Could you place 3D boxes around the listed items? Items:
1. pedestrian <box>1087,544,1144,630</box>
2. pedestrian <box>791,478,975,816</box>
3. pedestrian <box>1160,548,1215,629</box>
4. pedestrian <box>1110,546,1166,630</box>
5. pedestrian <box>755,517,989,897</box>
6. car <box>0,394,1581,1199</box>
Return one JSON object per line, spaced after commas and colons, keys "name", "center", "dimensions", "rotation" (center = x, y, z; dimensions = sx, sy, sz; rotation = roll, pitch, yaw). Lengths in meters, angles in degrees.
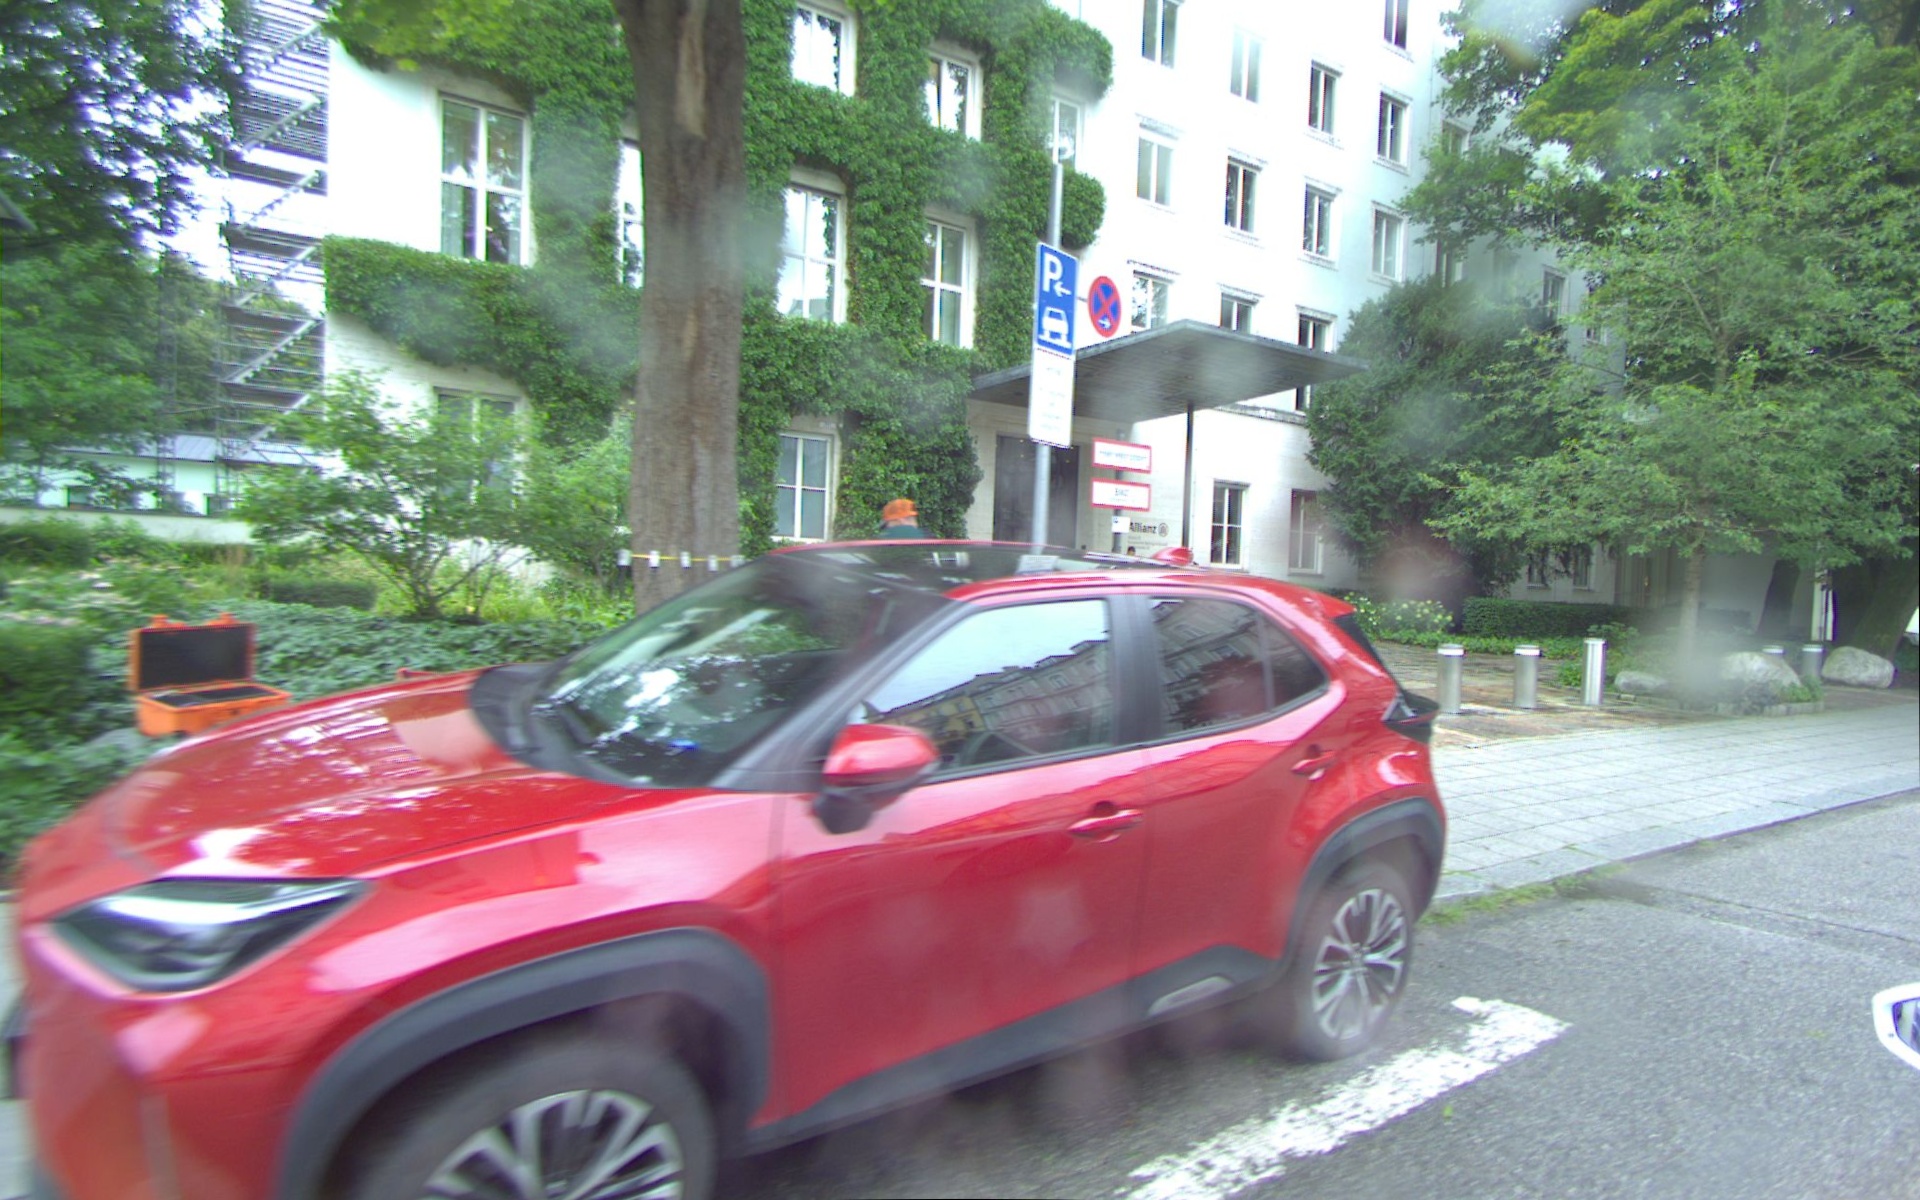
{"name": "pedestrian", "center": [3.322, -0.280, 21.503], "dimensions": [0.745, 1.776, 0.892], "rotation": [1, 2, -35]}
{"name": "pedestrian", "center": [-0.477, 0.258, 6.077], "dimensions": [0.789, 1.877, 0.708], "rotation": [1, 3, -34]}
{"name": "pedestrian", "center": [5.162, -0.264, 22.795], "dimensions": [0.893, 1.776, 0.745], "rotation": [2, 1, -37]}
{"name": "pedestrian", "center": [3.942, -0.264, 22.219], "dimensions": [0.893, 1.776, 0.745], "rotation": [2, 1, -37]}
{"name": "pedestrian", "center": [-0.416, 0.429, 4.627], "dimensions": [0.746, 1.569, 0.708], "rotation": [1, 3, -38]}
{"name": "car", "center": [-0.130, 0.536, 3.172], "dimensions": [4.482, 1.612, 1.874], "rotation": [1, 3, -35]}
